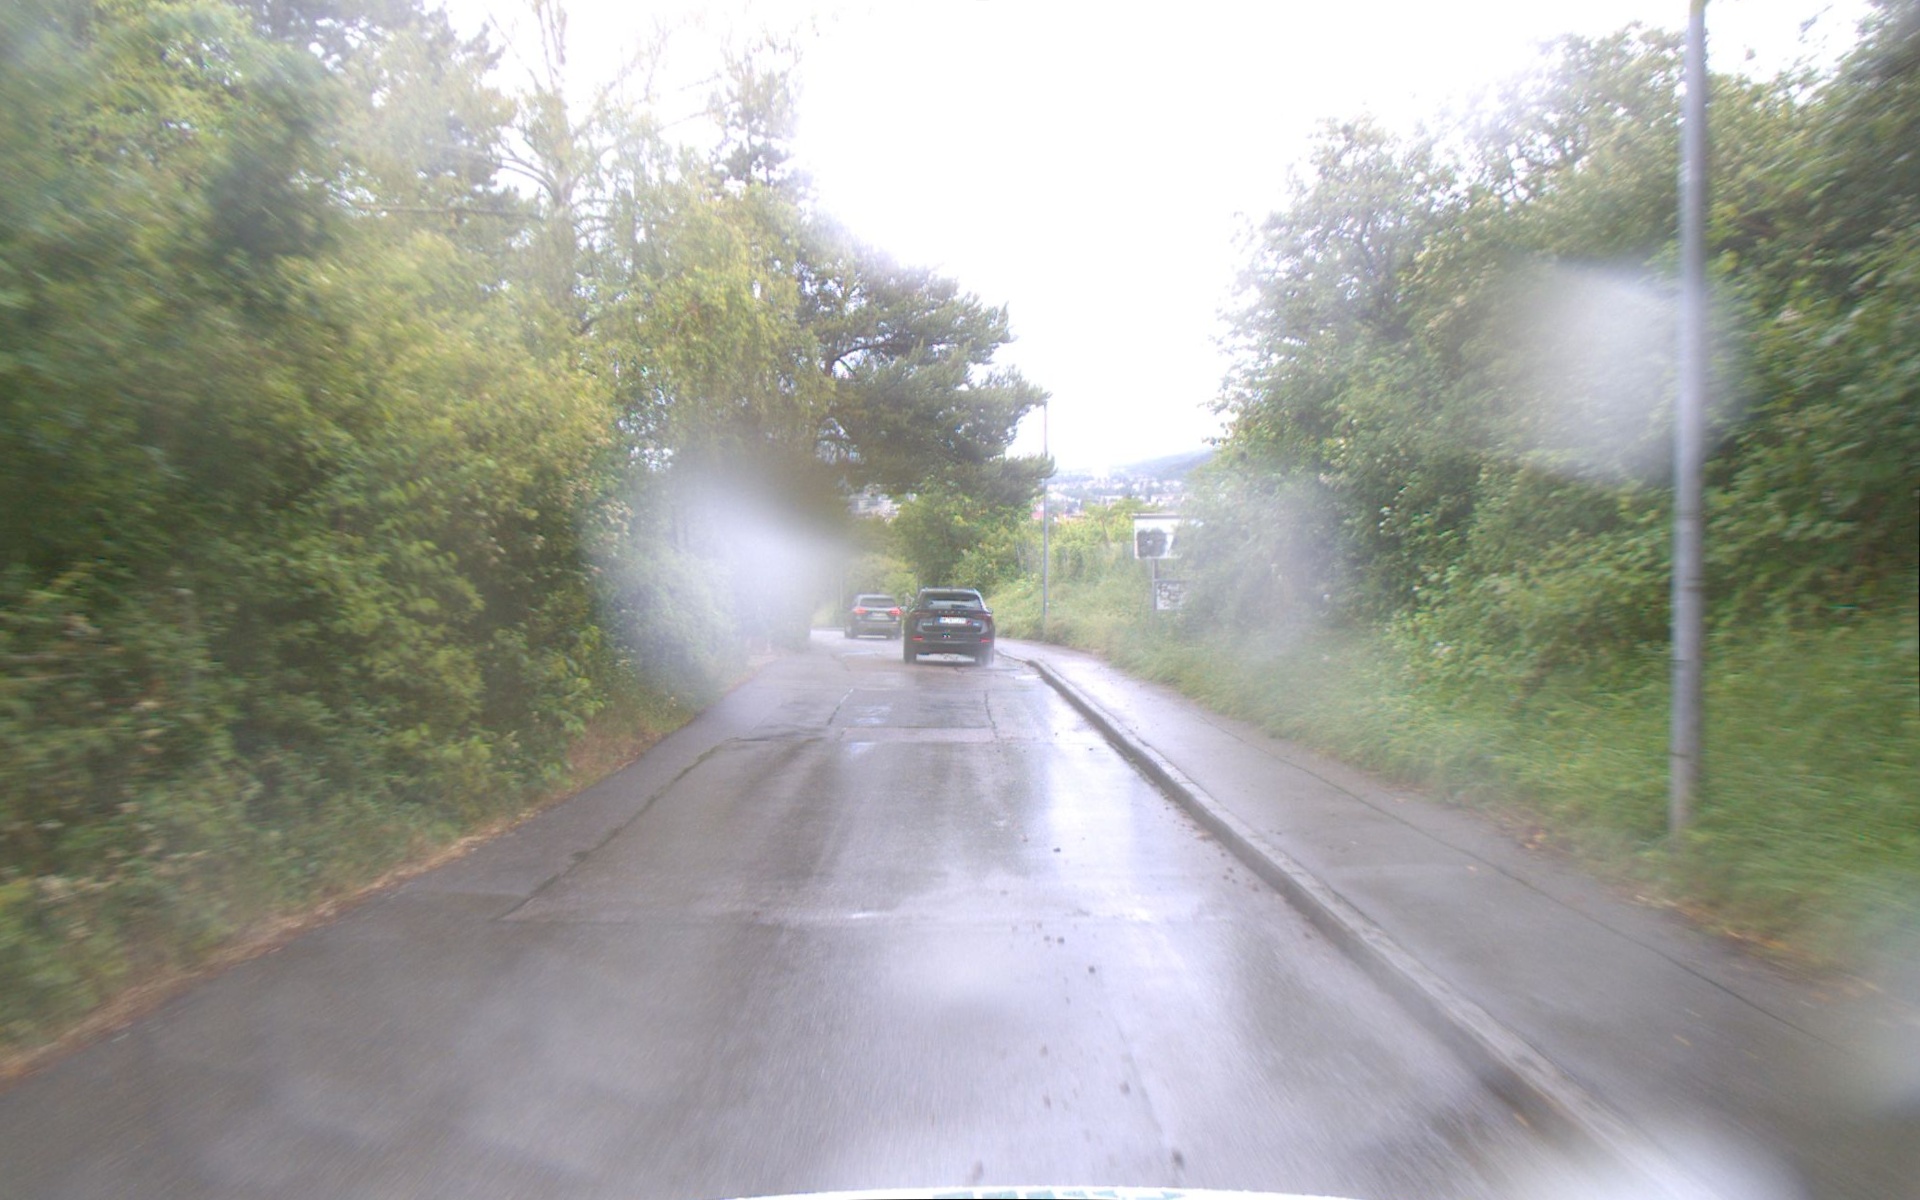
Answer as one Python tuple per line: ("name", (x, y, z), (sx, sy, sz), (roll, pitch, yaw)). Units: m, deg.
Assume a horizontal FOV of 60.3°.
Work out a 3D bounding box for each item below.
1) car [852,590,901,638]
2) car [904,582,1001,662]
("car", (-2.961, 0.475, 58.106), (1.645, 1.592, 3.791), (1, 0, -4))
("car", (-0.197, 0.417, 32.935), (1.798, 1.489, 3.998), (-1, 0, -2))
